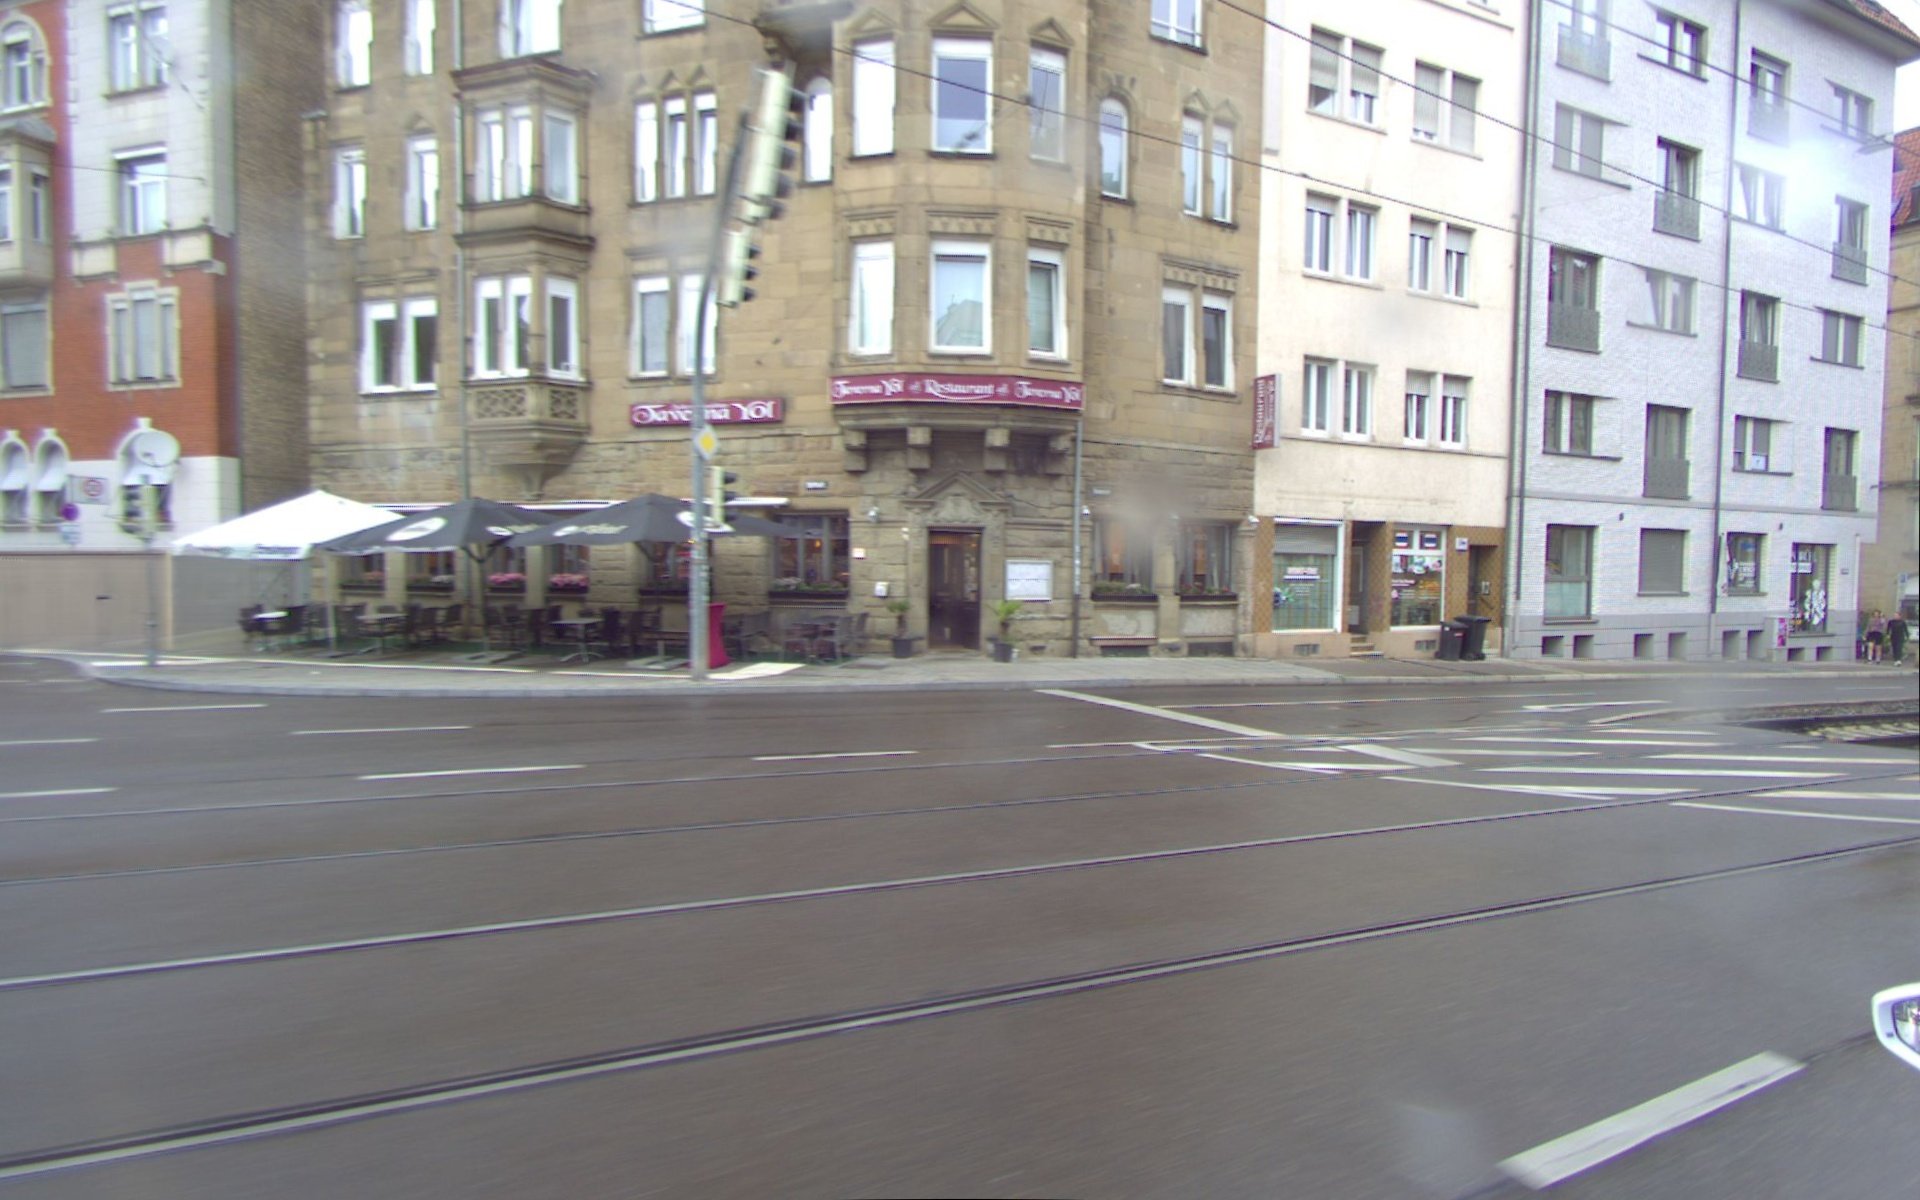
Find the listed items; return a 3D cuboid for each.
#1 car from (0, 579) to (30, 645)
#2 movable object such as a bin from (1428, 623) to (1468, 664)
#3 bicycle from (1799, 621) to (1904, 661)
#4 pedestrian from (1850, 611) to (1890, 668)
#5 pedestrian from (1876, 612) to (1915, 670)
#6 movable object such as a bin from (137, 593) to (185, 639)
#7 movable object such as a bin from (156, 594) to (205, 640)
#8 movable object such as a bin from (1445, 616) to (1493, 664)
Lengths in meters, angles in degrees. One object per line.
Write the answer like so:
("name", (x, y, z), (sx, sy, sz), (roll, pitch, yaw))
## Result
("car", (-22.588, 0.211, 21.811), (3.920, 1.421, 1.743), (1, 0, 17))
("movable object such as a bin", (11.775, 1.043, 24.235), (0.553, 0.923, 0.591), (1, 4, -26))
("bicycle", (38.260, 1.730, 43.166), (1.583, 1.605, 3.124), (1, 0, -36))
("pedestrian", (29.477, 1.284, 32.538), (0.911, 1.810, 0.638), (3, -1, -26))
("pedestrian", (29.773, 1.309, 31.962), (0.870, 1.810, 0.627), (3, -1, -26))
("movable object such as a bin", (-19.024, 0.384, 23.927), (0.540, 1.056, 0.722), (1, 0, 5))
("movable object such as a bin", (-18.452, 0.401, 23.793), (0.540, 1.056, 0.722), (1, 0, 5))
("movable object such as a bin", (12.377, 0.972, 24.447), (0.678, 1.088, 0.710), (1, 4, -26))
